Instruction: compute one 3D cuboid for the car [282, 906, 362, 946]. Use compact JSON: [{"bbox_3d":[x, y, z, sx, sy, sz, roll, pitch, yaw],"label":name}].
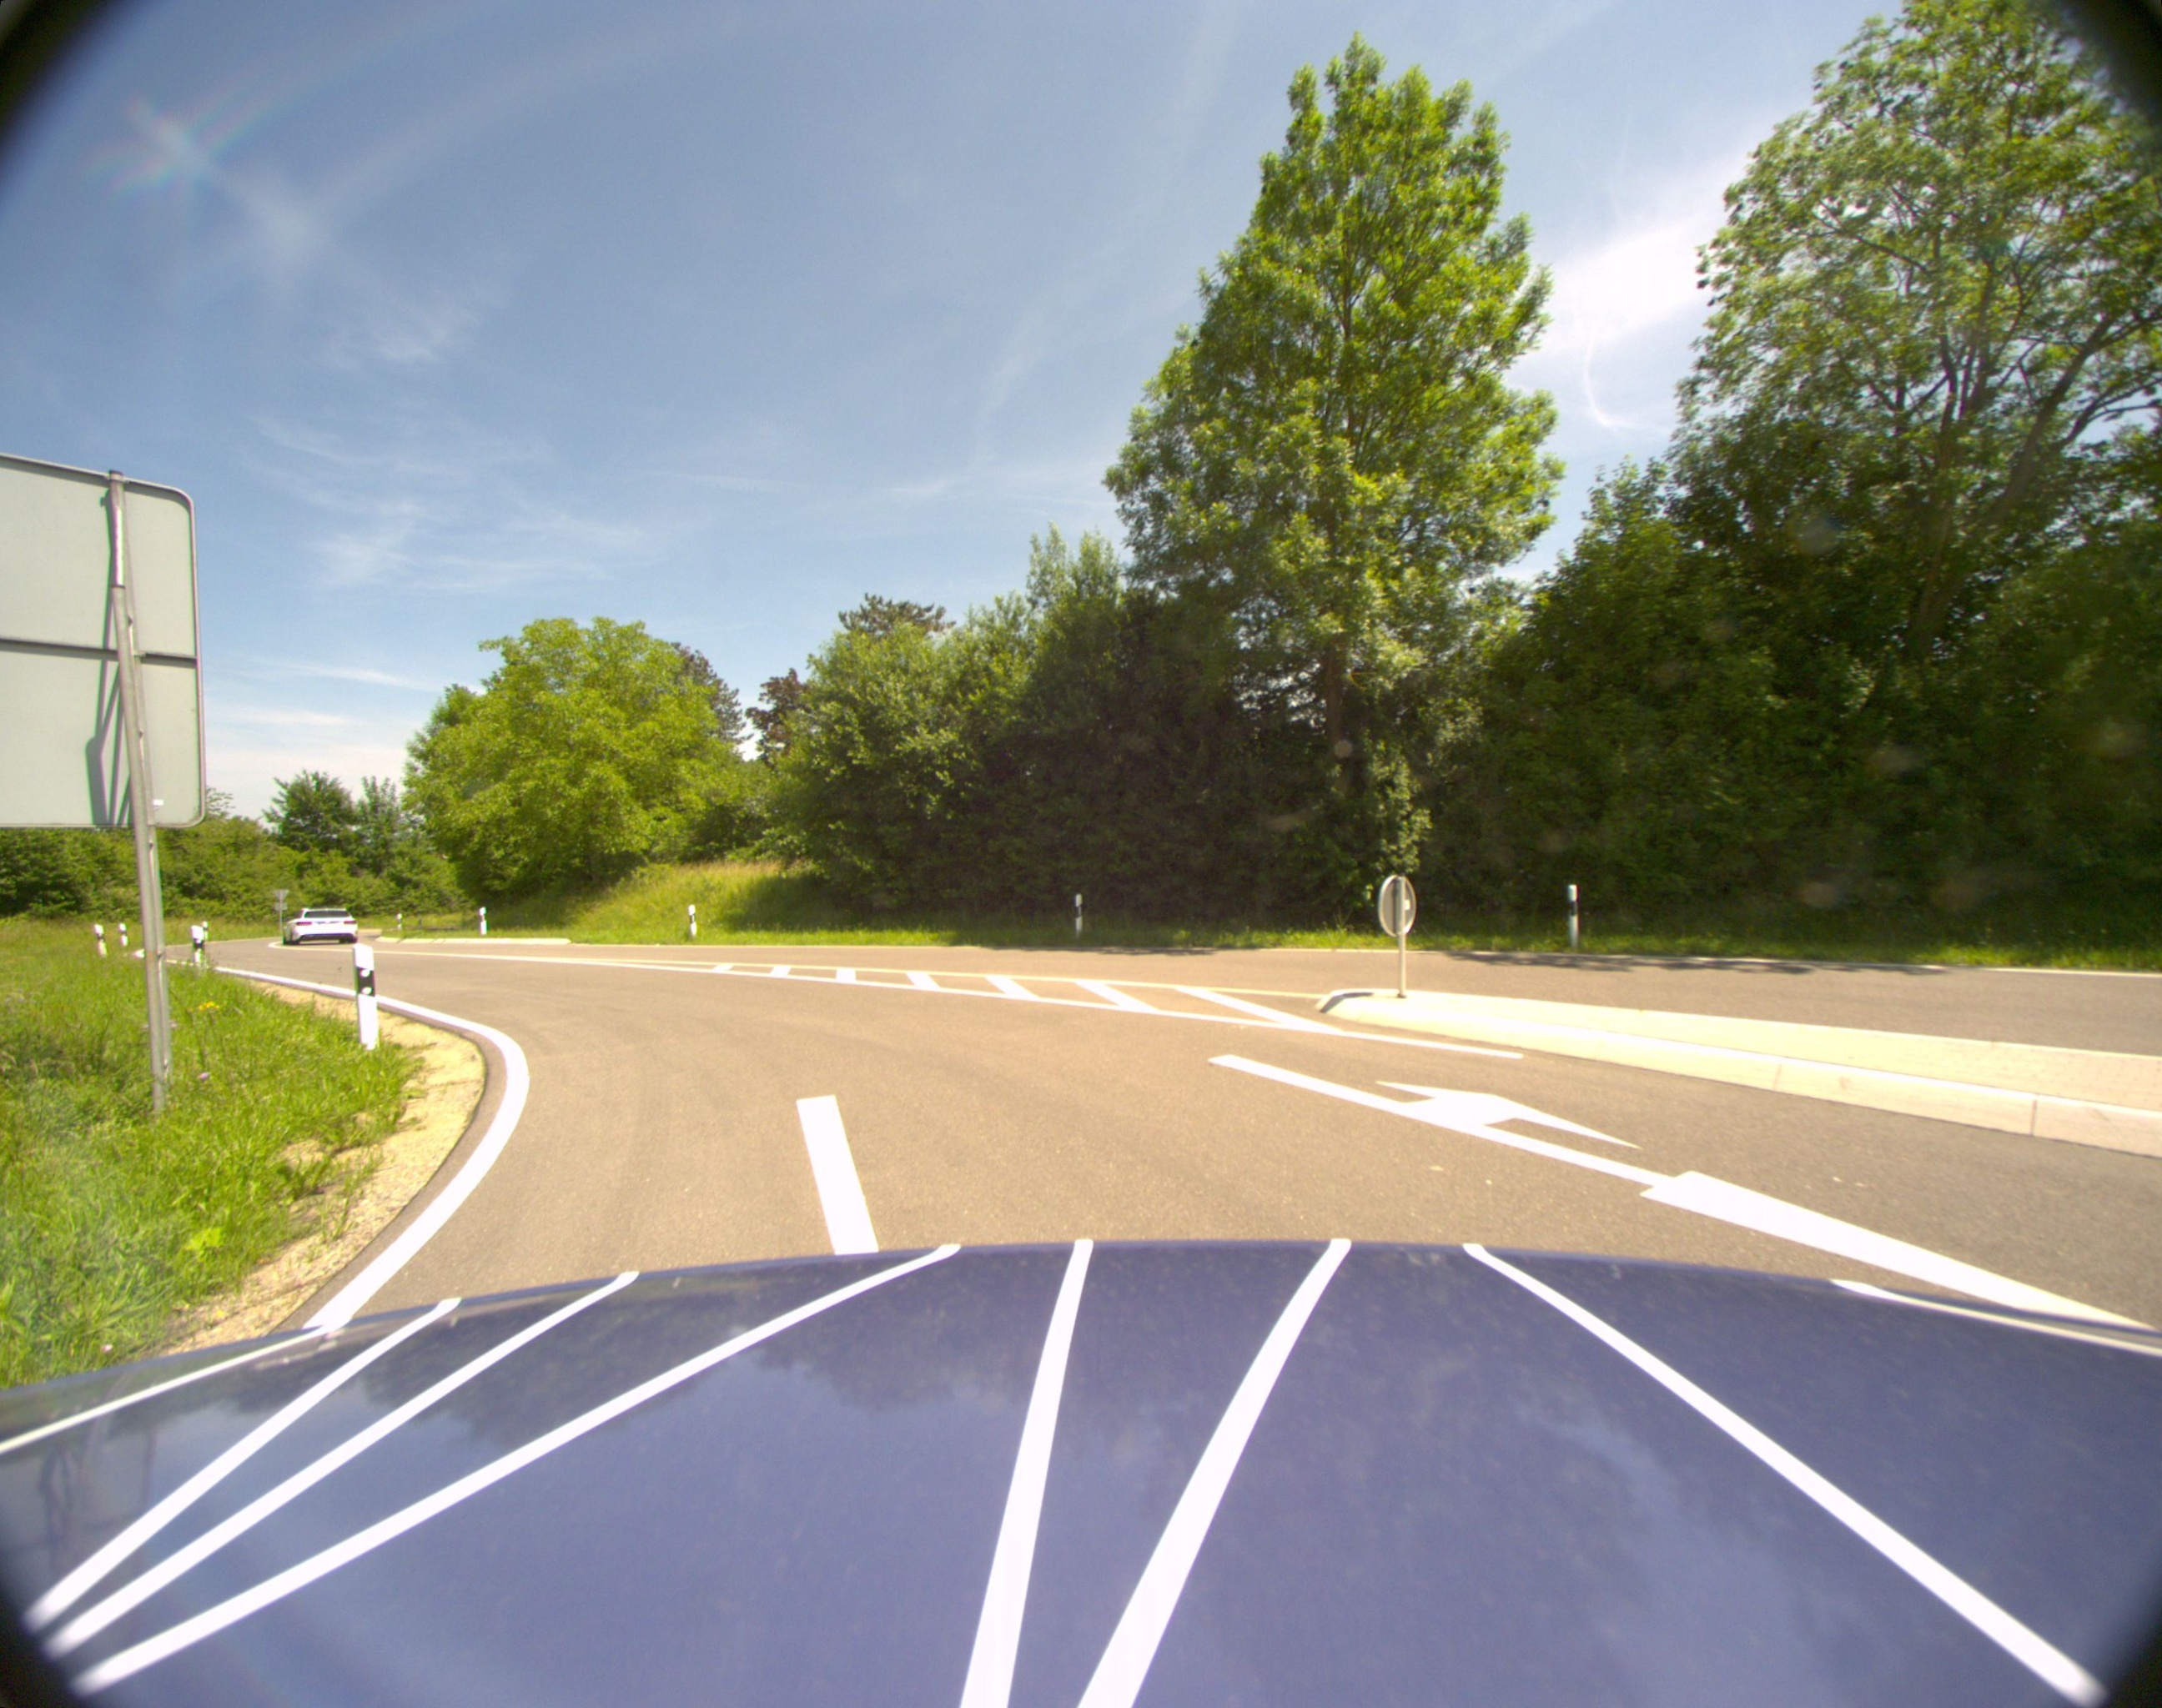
[{"bbox_3d":[-30.245,2.836,30.227,5.320,1.403,1.814,-4,-3,40],"label":"car"}]
